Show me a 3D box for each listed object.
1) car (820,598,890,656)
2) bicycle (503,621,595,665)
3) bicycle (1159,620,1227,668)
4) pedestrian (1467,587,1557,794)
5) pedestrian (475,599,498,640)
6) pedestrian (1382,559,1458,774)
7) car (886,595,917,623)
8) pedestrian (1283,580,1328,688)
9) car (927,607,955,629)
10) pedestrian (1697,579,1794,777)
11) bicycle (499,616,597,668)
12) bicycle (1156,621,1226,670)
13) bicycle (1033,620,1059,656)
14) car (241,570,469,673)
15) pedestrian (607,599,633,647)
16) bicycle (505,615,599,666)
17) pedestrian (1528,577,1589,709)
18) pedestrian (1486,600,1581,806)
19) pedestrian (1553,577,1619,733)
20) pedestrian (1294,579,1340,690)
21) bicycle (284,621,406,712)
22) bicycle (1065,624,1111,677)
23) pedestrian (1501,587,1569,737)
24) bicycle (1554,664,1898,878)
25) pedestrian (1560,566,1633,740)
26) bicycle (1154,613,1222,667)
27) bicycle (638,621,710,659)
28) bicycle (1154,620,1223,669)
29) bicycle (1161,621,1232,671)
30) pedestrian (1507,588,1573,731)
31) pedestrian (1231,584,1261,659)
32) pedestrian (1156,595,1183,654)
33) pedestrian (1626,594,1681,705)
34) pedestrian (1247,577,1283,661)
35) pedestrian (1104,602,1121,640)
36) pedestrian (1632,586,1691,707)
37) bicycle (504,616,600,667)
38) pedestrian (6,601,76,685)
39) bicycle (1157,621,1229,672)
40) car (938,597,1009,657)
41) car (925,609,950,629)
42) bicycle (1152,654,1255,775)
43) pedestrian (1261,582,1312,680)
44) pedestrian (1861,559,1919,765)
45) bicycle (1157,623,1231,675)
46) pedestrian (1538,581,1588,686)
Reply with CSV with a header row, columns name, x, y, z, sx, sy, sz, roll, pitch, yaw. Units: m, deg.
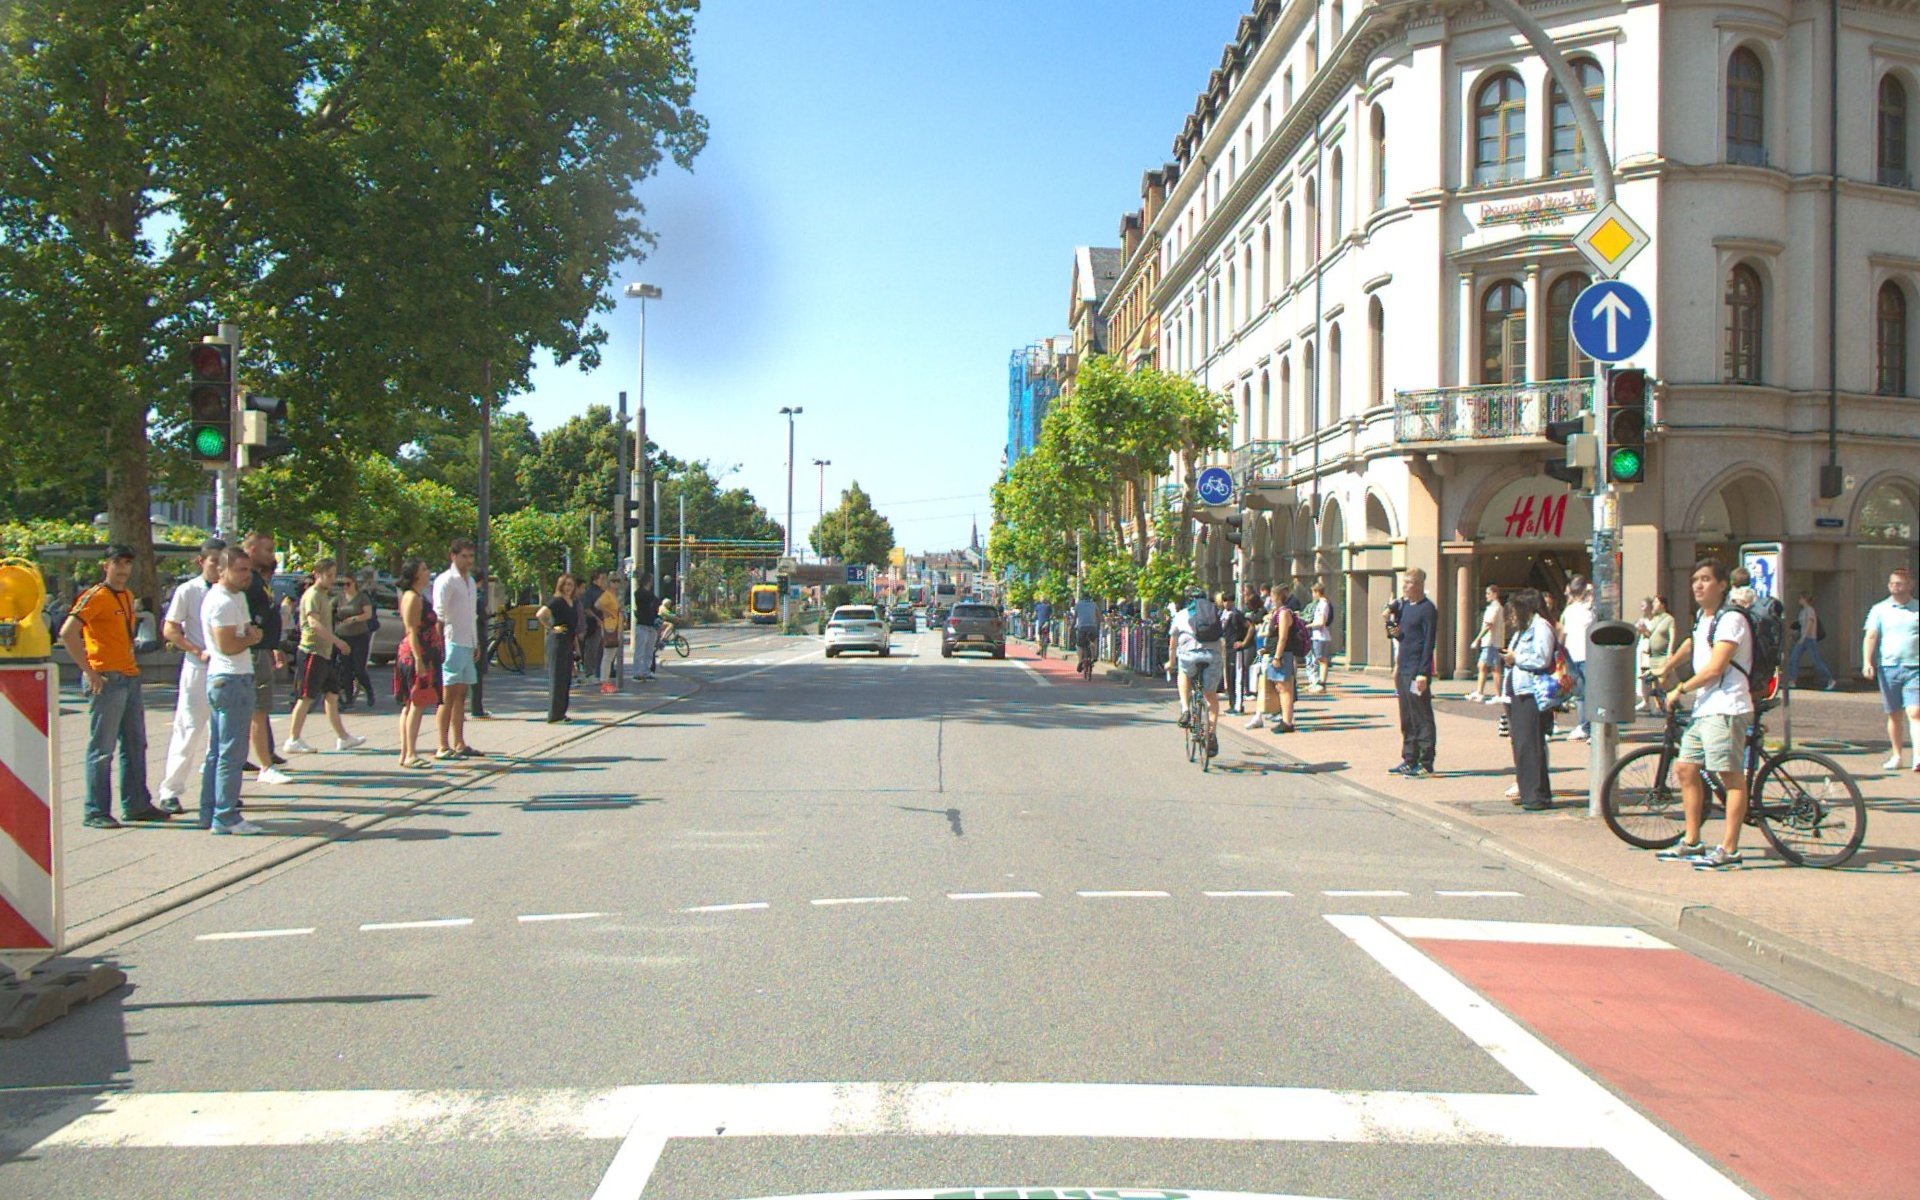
name,x,y,z,sx,sy,sz,roll,pitch,yaw
car,-3.009,0.757,48.043,1.808,1.587,4.000,0,0,-1
bicycle,-9.520,0.996,38.380,2.045,0.997,0.682,0,-1,-13
bicycle,4.977,0.937,35.380,1.391,0.997,0.401,-1,1,0
pedestrian,4.529,0.731,13.602,0.537,1.659,0.589,-1,-1,2
pedestrian,-20.493,0.842,71.513,0.695,1.737,0.656,0,-1,14
pedestrian,4.235,0.602,15.256,0.512,1.931,0.641,-1,-1,2
car,-3.511,0.531,99.564,1.808,1.587,3.999,1,0,-2
pedestrian,5.958,0.586,28.544,0.598,1.838,0.677,0,-1,-3
car,-1.327,1.215,114.690,1.808,1.438,3.999,1,0,-2
pedestrian,6.777,0.663,14.289,0.537,1.669,0.589,-1,-1,2
bicycle,-8.956,0.913,36.061,2.045,1.109,0.682,0,-1,-13
bicycle,4.815,0.947,34.450,1.391,0.997,0.445,-1,1,0
bicycle,2.530,1.117,48.891,0.634,1.015,2.030,1,0,-1
car,-12.509,0.432,34.540,1.820,1.989,4.761,0,-1,20
pedestrian,-11.904,0.811,57.880,0.755,1.657,0.611,1,-1,-2
bicycle,-9.207,0.907,37.383,2.045,1.109,0.682,0,-1,-13
pedestrian,8.671,0.619,23.969,0.662,1.888,0.541,1,-1,-3
pedestrian,4.418,0.776,12.768,0.512,1.548,0.641,-1,-1,2
pedestrian,7.059,0.613,18.673,0.512,1.732,0.535,-1,-1,-1
pedestrian,5.993,0.569,27.788,0.598,1.838,0.677,1,-1,-3
bicycle,-7.645,0.802,20.657,0.479,1.047,1.936,0,0,11
bicycle,2.636,1.030,34.329,0.758,1.023,2.329,0,0,-1
pedestrian,6.392,0.681,18.409,0.512,1.640,0.641,-1,-1,-1
bicycle,4.554,0.971,9.966,0.595,1.101,1.816,-2,0,-35
pedestrian,6.942,0.570,18.064,0.512,1.855,0.641,-1,-1,-1
bicycle,4.934,0.870,35.807,1.391,1.133,0.401,-1,1,0
bicycle,-8.240,1.153,47.718,1.939,1.044,0.673,1,0,-28
bicycle,4.830,0.937,34.943,1.391,0.997,0.445,-1,1,0
bicycle,4.856,0.935,33.995,1.391,0.997,0.445,-1,1,0
pedestrian,6.773,0.681,19.336,0.512,1.637,0.641,-1,-1,-1
pedestrian,7.021,0.531,40.648,0.615,1.823,0.612,1,-1,-1
pedestrian,6.132,0.710,48.430,0.662,1.694,0.611,1,-1,-3
pedestrian,10.570,0.751,25.223,0.529,1.662,0.677,1,-1,-3
pedestrian,6.704,0.421,36.365,0.662,1.823,0.612,1,-1,-1
pedestrian,6.541,0.893,70.895,0.662,1.600,0.611,1,-1,-3
pedestrian,10.293,0.673,24.272,0.529,1.746,0.677,1,-1,-5
bicycle,-9.046,0.915,36.735,2.045,1.109,0.682,0,-1,-13
pedestrian,-14.608,0.677,26.293,0.619,1.316,0.731,0,-1,20
bicycle,4.714,0.936,33.531,1.391,0.997,0.445,-1,1,0
car,0.353,0.737,47.333,1.808,1.586,3.998,-1,0,-2
car,-1.741,1.454,126.475,1.808,1.438,3.999,1,0,-2
bicycle,2.337,1.076,16.079,0.617,0.997,2.088,1,0,-2
pedestrian,5.863,0.547,29.703,0.603,1.735,0.671,0,0,-29
pedestrian,8.607,0.551,15.042,0.579,1.833,0.547,-1,-1,45
bicycle,4.631,0.970,32.708,1.391,0.997,0.445,-1,1,0
pedestrian,10.501,0.580,28.803,0.598,1.794,0.677,1,-1,-3
